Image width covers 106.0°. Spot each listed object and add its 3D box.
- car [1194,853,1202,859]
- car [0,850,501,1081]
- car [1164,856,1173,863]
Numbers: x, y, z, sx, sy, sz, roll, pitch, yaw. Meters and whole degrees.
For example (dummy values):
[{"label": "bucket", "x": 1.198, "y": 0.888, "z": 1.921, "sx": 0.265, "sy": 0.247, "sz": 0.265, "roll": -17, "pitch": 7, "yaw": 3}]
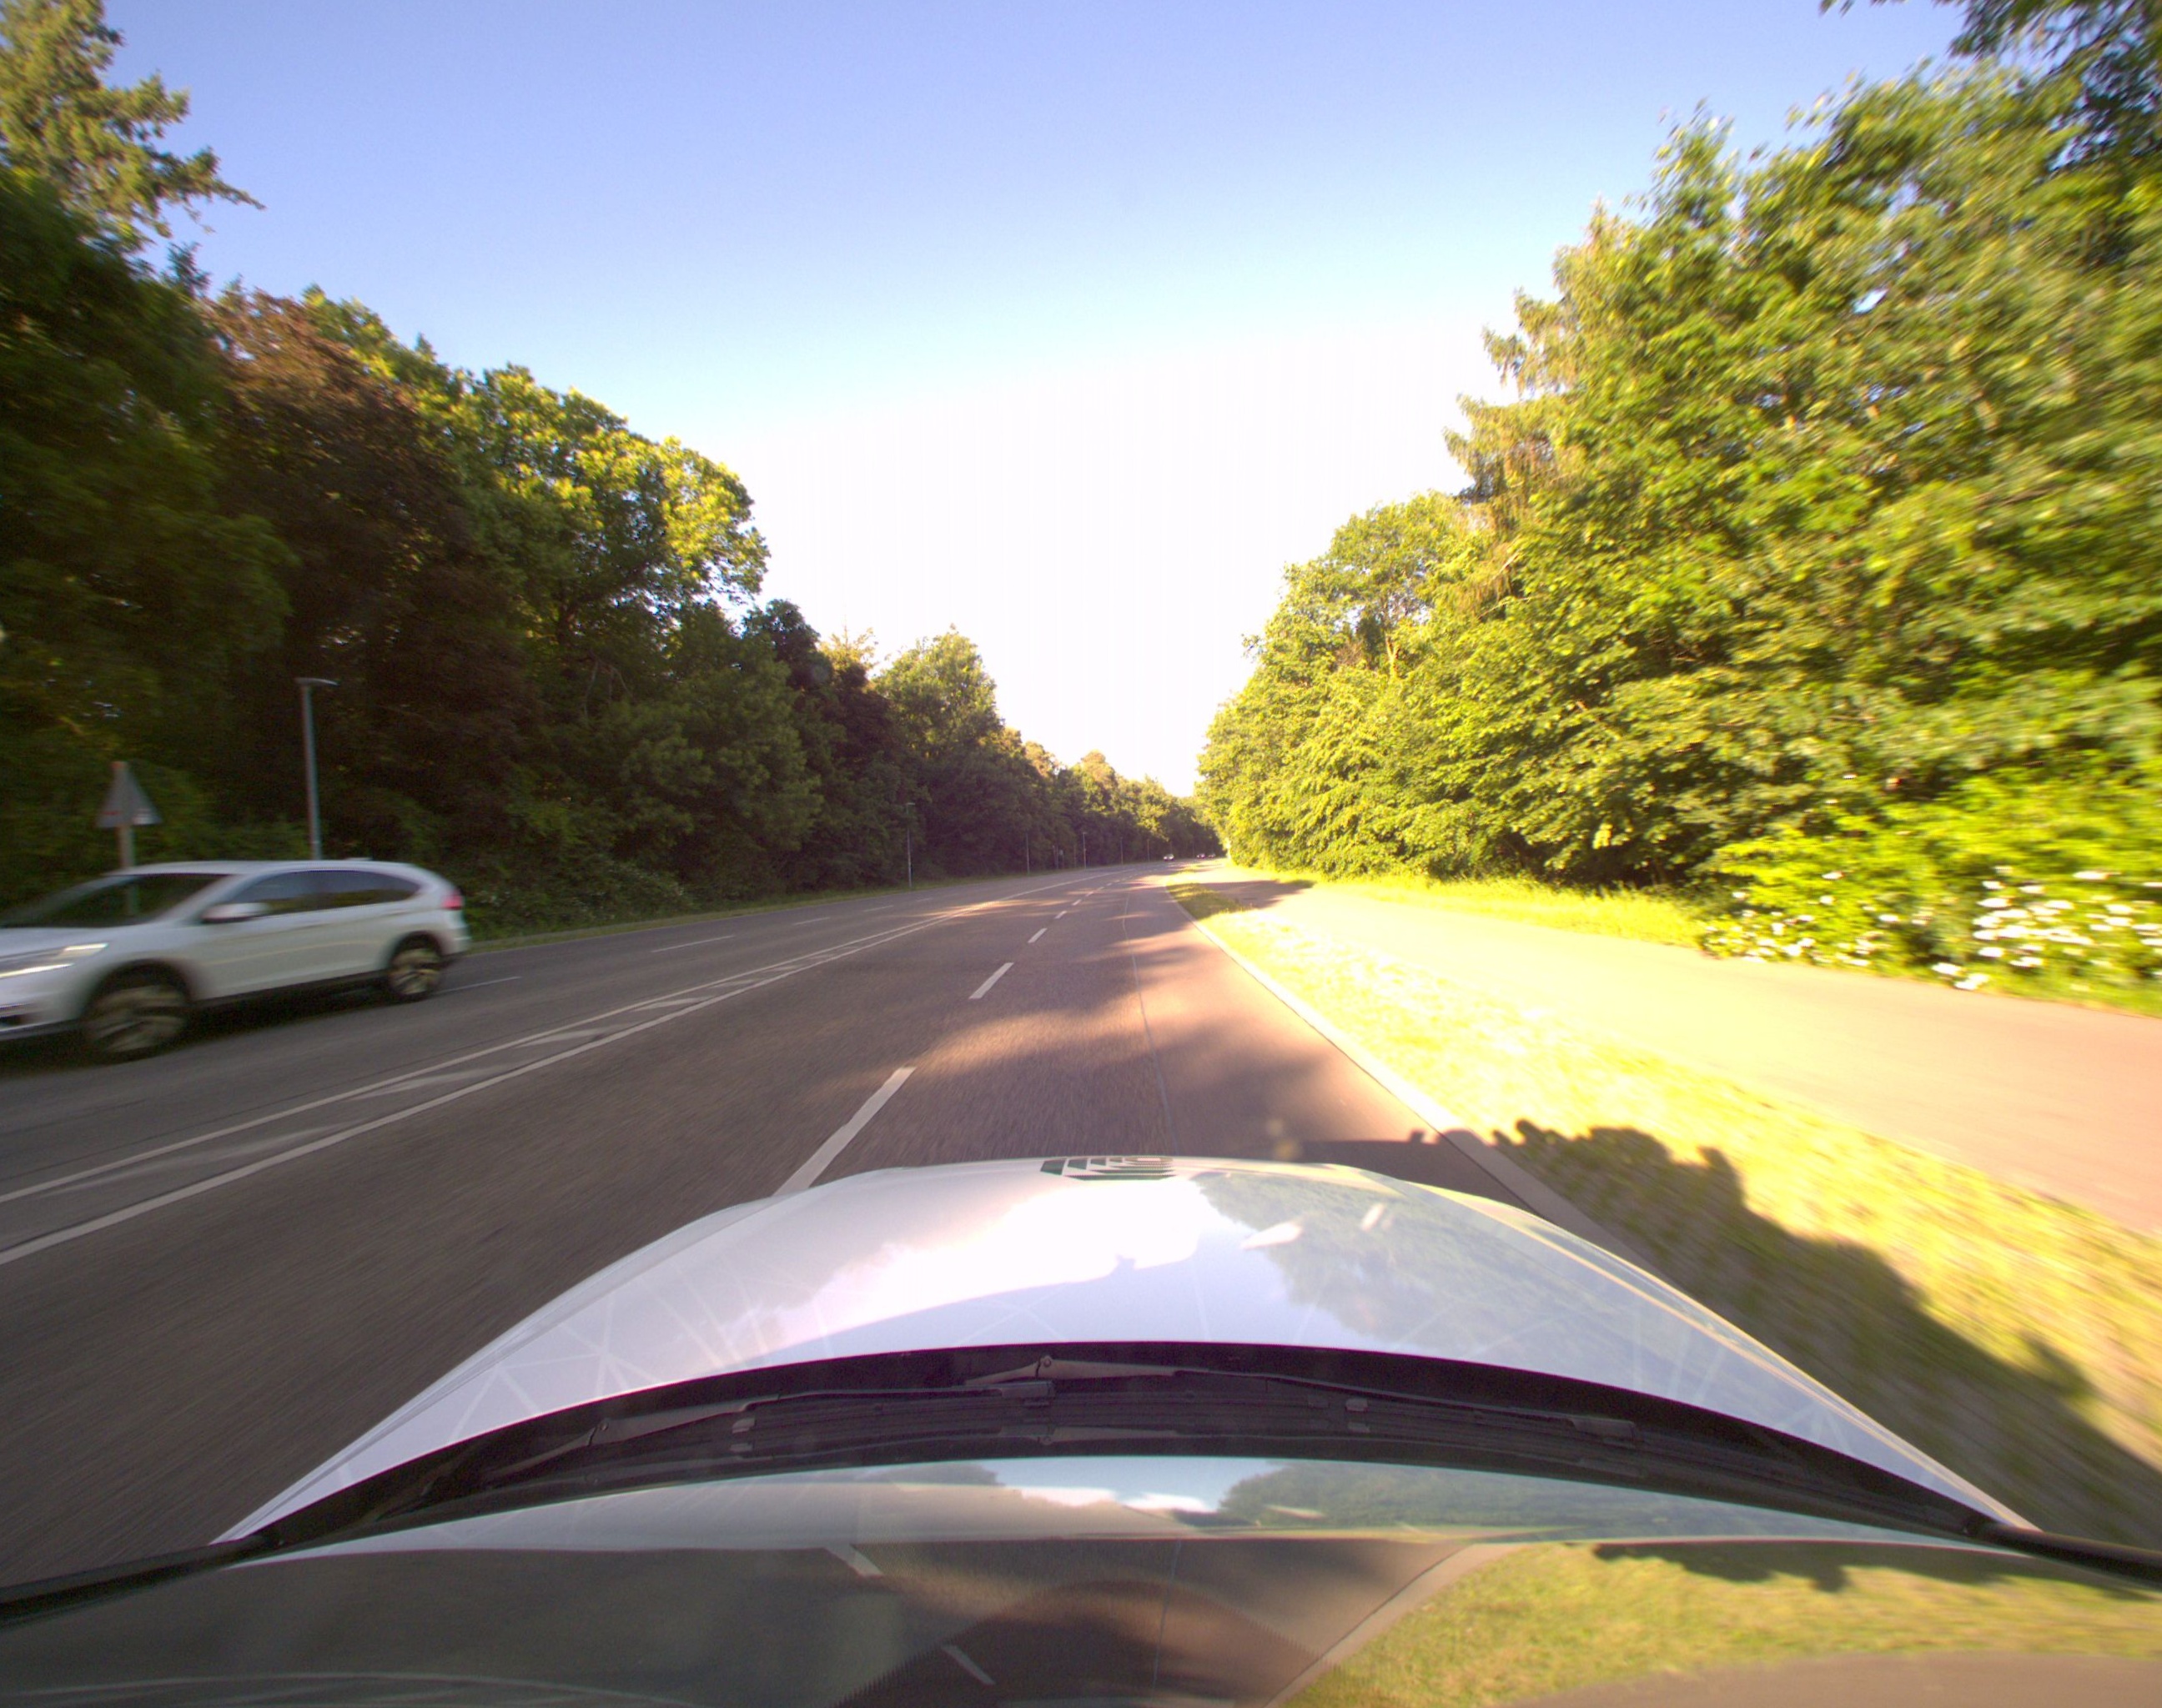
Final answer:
[{"label": "car", "x": 35.398, "y": 0.634, "z": 246.755, "sx": 1.981, "sy": 1.585, "sz": 4.012, "roll": -2, "pitch": -1, "yaw": 11}, {"label": "car", "x": -8.572, "y": 0.837, "z": 8.260, "sx": 1.901, "sy": 1.664, "sz": 4.734, "roll": -1, "pitch": 0, "yaw": 1}, {"label": "car", "x": 20.237, "y": 1.251, "z": 189.342, "sx": 1.984, "sy": 1.585, "sz": 4.005, "roll": -2, "pitch": -1, "yaw": 5}]
